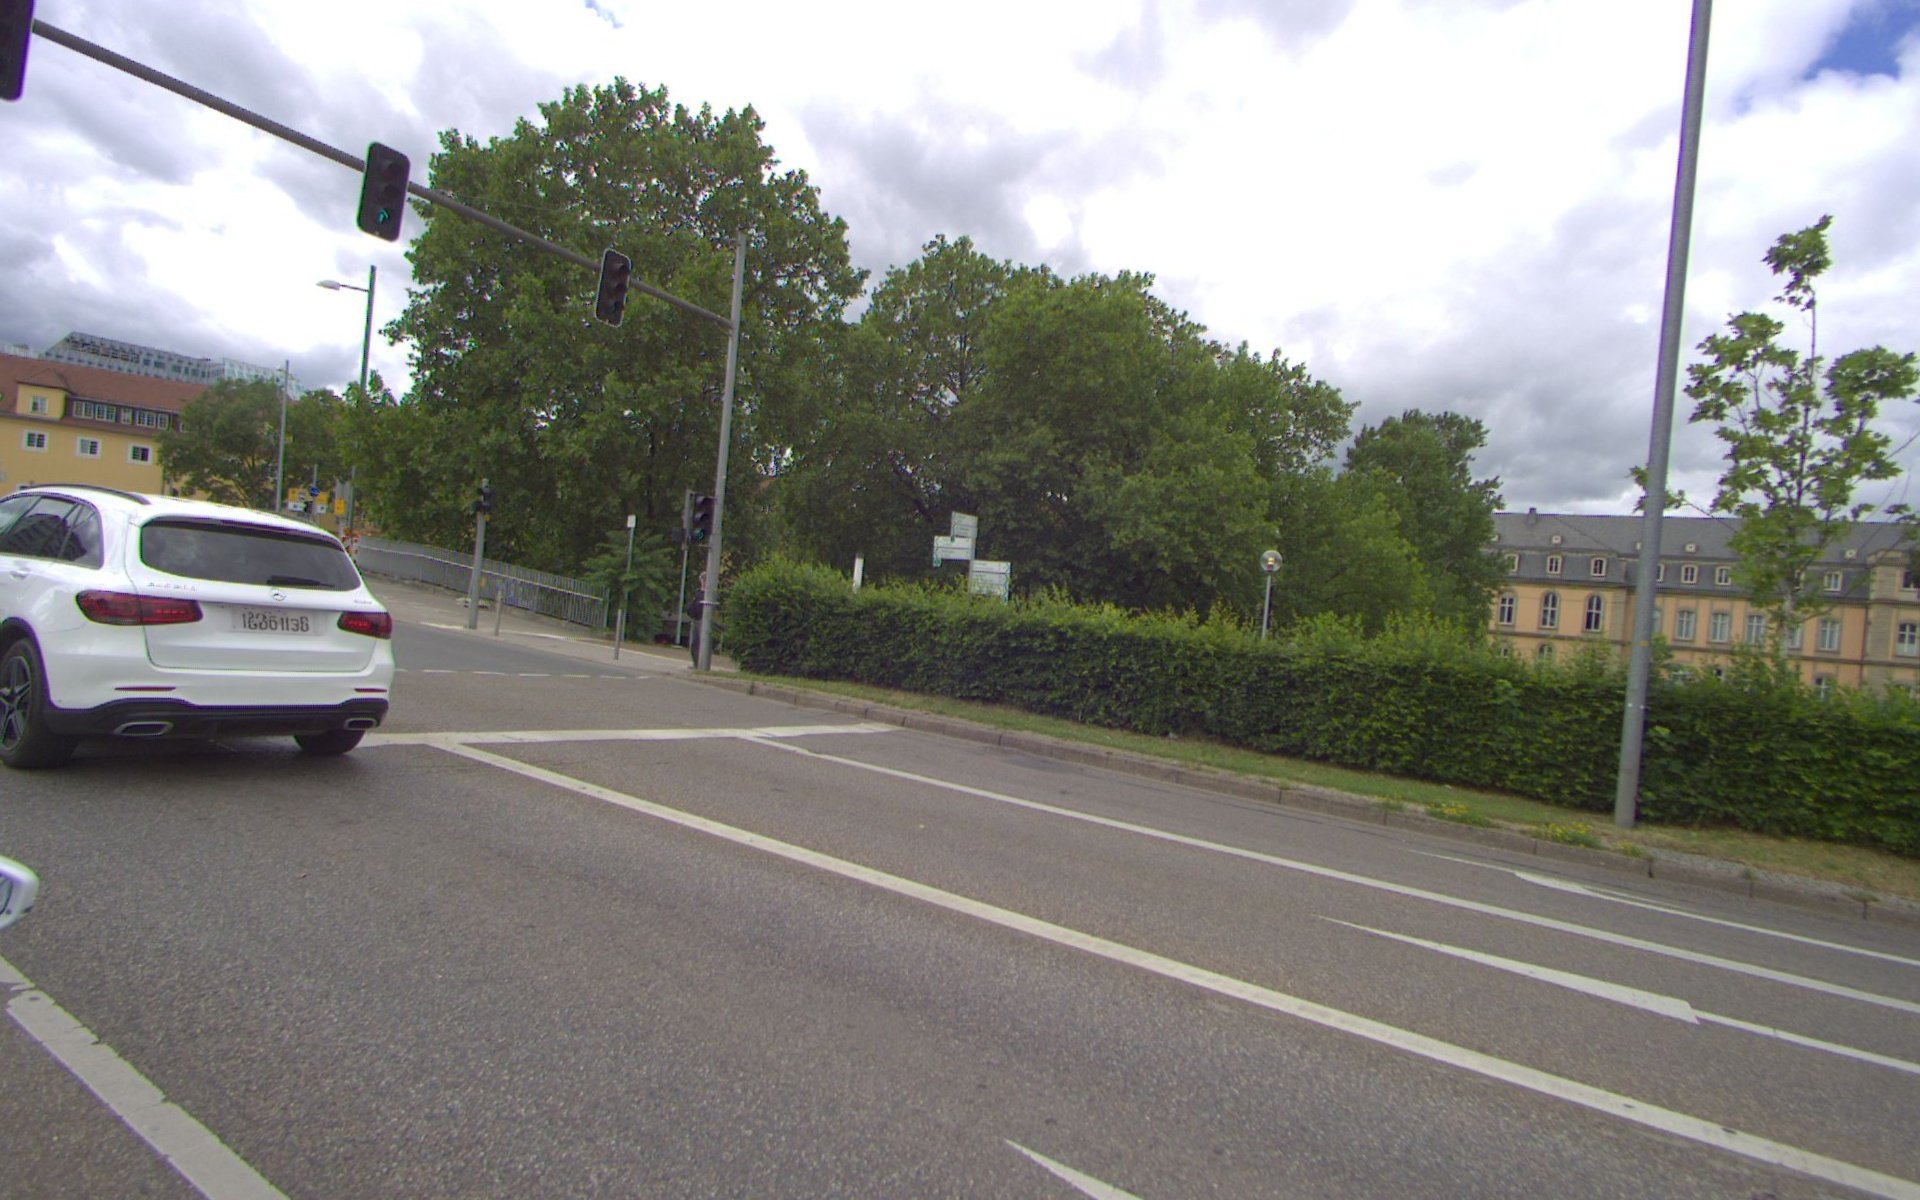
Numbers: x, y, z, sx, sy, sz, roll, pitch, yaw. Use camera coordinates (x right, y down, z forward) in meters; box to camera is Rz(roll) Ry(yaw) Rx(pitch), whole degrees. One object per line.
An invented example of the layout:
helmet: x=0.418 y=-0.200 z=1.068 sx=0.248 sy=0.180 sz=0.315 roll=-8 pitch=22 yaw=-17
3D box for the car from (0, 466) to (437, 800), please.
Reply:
car: x=-5.854 y=0.048 z=7.014 sx=4.306 sy=1.667 sz=1.822 roll=7 pitch=-1 yaw=31

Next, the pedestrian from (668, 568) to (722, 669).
pedestrian: x=-4.888 y=0.345 z=18.584 sx=0.610 sy=1.785 sz=0.479 roll=7 pitch=0 yaw=29

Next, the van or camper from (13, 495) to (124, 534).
van or camper: x=-69.060 y=-6.613 z=78.094 sx=5.945 sy=2.038 sz=2.009 roll=7 pitch=-1 yaw=-23

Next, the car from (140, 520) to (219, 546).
car: x=-62.789 y=-5.363 z=81.004 sx=4.637 sy=1.437 sz=1.586 roll=7 pitch=-1 yaw=-27
